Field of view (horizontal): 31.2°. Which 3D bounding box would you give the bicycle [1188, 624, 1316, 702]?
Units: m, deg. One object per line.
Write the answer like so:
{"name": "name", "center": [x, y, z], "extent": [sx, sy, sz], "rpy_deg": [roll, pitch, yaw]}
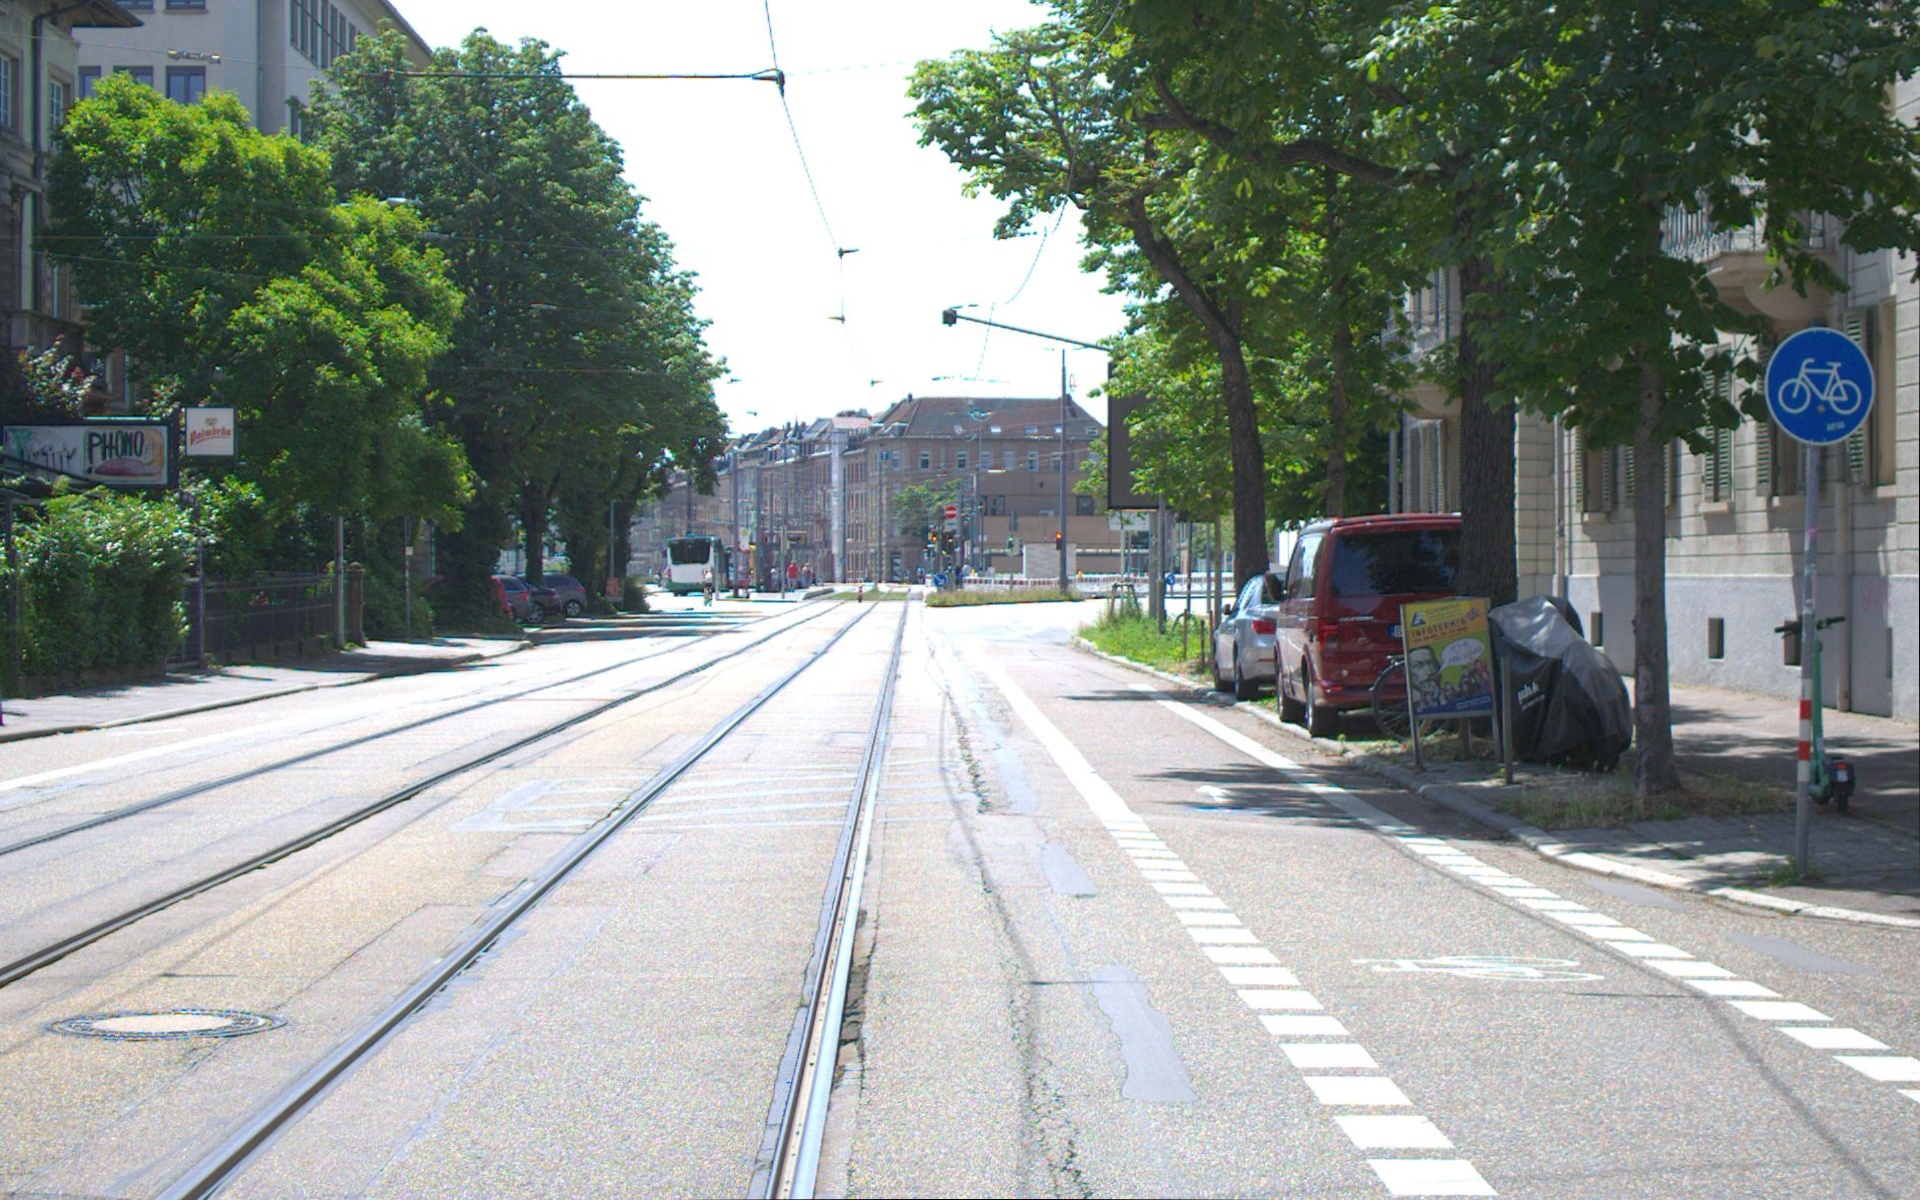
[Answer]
{"name": "bicycle", "center": [3.846, 0.835, 45.301], "extent": [1.658, 1.012, 0.371], "rpy_deg": [0, -2, 0]}

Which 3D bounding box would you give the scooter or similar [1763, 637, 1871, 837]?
{"name": "scooter or similar", "center": [5.169, 0.809, 20.771], "extent": [0.295, 1.157, 1.252], "rpy_deg": [0, 0, -2]}

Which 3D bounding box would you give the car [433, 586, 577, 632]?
{"name": "car", "center": [-13.522, 0.257, 102.254], "extent": [3.920, 1.369, 1.670], "rpy_deg": [0, 0, -26]}

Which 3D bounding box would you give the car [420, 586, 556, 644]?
{"name": "car", "center": [-13.044, 0.409, 94.965], "extent": [3.341, 1.511, 1.670], "rpy_deg": [1, 0, -26]}

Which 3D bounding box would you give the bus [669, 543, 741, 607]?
{"name": "bus", "center": [-14.275, -1.325, 193.651], "extent": [3.010, 3.147, 17.497], "rpy_deg": [1, -1, -1]}

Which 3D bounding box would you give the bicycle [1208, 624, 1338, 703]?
{"name": "bicycle", "center": [4.071, 0.828, 44.742], "extent": [1.658, 1.012, 0.371], "rpy_deg": [0, 0, 0]}

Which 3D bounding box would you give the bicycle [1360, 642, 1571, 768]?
{"name": "bicycle", "center": [4.212, 0.871, 28.664], "extent": [1.696, 1.018, 0.365], "rpy_deg": [0, 0, -6]}

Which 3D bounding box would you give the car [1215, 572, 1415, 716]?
{"name": "car", "center": [4.109, 0.539, 40.501], "extent": [1.859, 1.572, 4.877], "rpy_deg": [1, -1, 0]}

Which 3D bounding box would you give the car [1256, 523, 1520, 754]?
{"name": "car", "center": [3.988, 0.334, 32.800], "extent": [1.859, 2.007, 4.976], "rpy_deg": [1, 0, 0]}

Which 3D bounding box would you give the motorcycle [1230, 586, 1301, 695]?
{"name": "motorcycle", "center": [4.335, 0.552, 48.635], "extent": [0.745, 1.501, 2.557], "rpy_deg": [0, 0, 11]}
